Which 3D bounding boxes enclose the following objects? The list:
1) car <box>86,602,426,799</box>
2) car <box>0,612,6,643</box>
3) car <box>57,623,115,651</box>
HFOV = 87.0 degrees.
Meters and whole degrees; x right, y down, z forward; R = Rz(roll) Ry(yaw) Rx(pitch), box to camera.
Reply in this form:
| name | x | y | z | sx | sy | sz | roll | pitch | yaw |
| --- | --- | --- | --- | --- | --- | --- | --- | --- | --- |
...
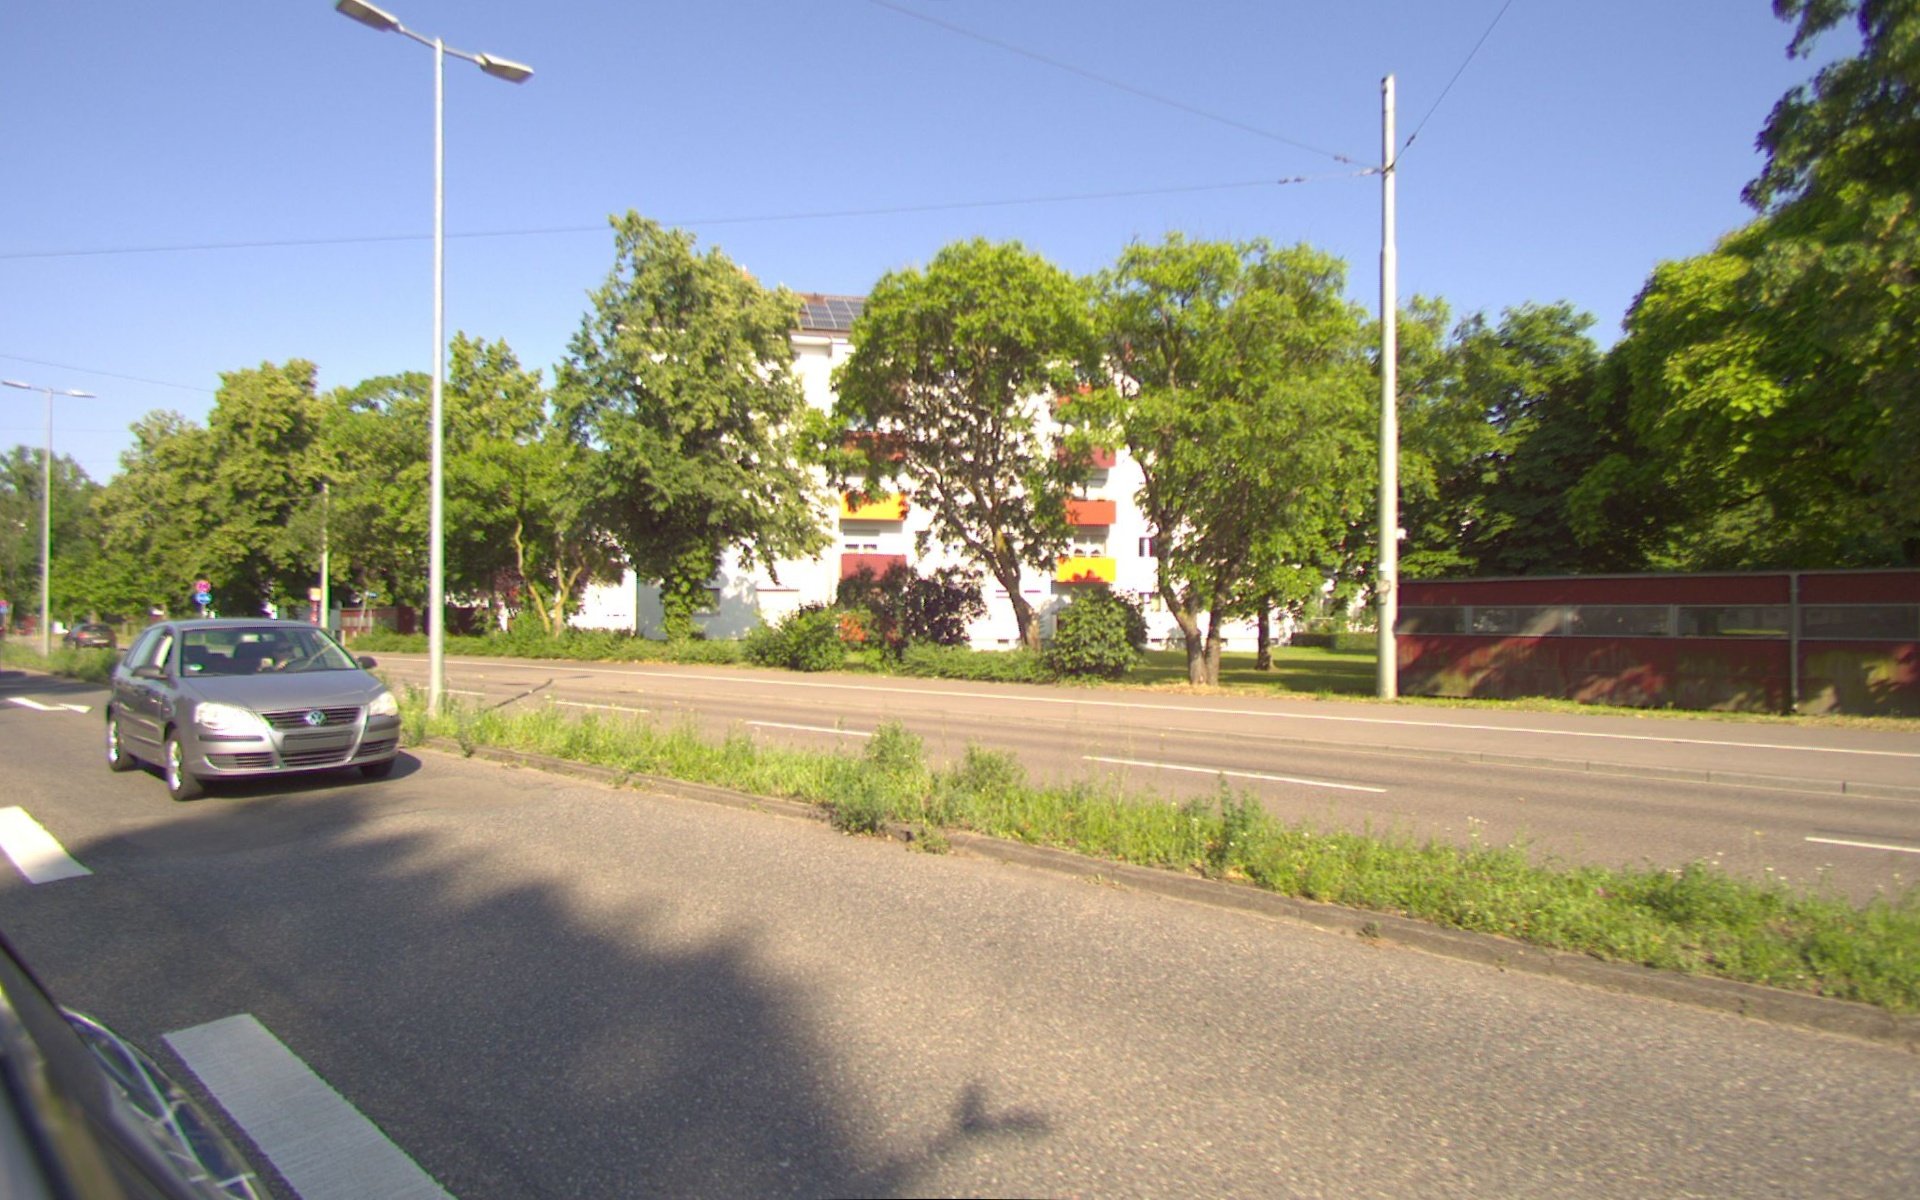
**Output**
| name | x | y | z | sx | sy | sz | roll | pitch | yaw |
| --- | --- | --- | --- | --- | --- | --- | --- | --- | --- |
| car | -6.629 | 0.776 | 9.380 | 3.830 | 1.439 | 1.671 | -1 | -1 | 40 |
| car | -57.675 | 1.637 | 59.498 | 4.477 | 1.798 | 1.772 | -1 | -2 | 40 |
| car | -46.382 | 1.955 | 53.678 | 4.323 | 1.430 | 1.706 | -1 | -3 | 41 |
